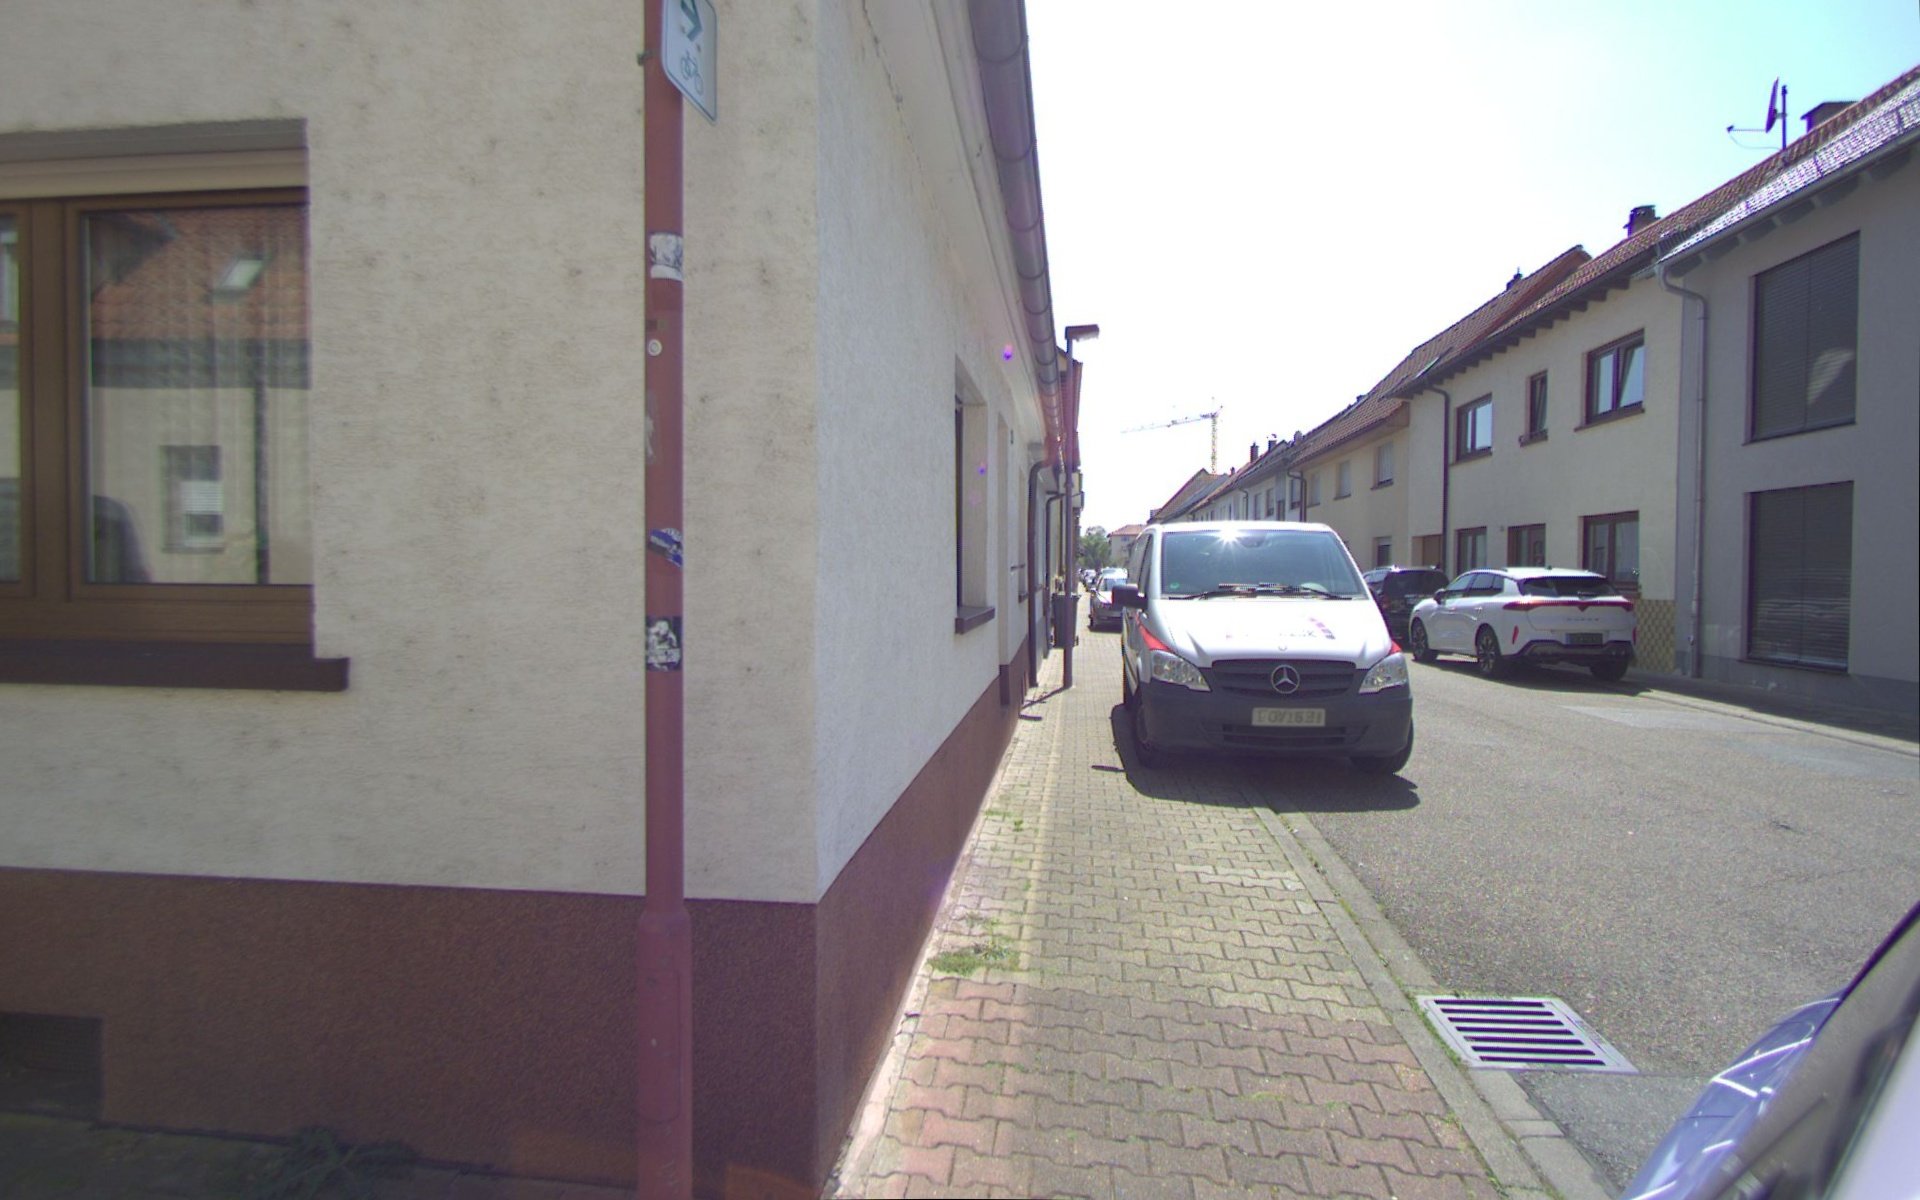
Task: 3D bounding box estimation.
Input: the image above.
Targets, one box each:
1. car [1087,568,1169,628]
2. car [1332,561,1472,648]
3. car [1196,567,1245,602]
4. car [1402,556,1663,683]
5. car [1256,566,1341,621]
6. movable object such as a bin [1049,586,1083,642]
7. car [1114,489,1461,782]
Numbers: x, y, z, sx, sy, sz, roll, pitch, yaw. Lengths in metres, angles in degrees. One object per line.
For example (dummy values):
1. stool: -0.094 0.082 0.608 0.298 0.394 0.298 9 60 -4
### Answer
1. car: 4.408 -0.118 27.135 1.812 1.466 4.770 0 2 6
2. car: 9.317 0.021 21.674 1.699 1.635 3.981 2 2 8
3. car: 12.360 -0.774 48.142 1.639 1.560 3.684 -1 2 5
4. car: 8.518 0.178 15.573 1.748 1.635 4.345 2 2 4
5. car: 10.521 -0.250 31.690 1.617 1.556 3.938 2 2 5
6. movable object such as a bin: 2.128 0.269 20.412 0.649 1.084 0.812 1 1 5
7. car: 2.502 0.147 9.174 1.985 1.861 5.257 0 2 7
